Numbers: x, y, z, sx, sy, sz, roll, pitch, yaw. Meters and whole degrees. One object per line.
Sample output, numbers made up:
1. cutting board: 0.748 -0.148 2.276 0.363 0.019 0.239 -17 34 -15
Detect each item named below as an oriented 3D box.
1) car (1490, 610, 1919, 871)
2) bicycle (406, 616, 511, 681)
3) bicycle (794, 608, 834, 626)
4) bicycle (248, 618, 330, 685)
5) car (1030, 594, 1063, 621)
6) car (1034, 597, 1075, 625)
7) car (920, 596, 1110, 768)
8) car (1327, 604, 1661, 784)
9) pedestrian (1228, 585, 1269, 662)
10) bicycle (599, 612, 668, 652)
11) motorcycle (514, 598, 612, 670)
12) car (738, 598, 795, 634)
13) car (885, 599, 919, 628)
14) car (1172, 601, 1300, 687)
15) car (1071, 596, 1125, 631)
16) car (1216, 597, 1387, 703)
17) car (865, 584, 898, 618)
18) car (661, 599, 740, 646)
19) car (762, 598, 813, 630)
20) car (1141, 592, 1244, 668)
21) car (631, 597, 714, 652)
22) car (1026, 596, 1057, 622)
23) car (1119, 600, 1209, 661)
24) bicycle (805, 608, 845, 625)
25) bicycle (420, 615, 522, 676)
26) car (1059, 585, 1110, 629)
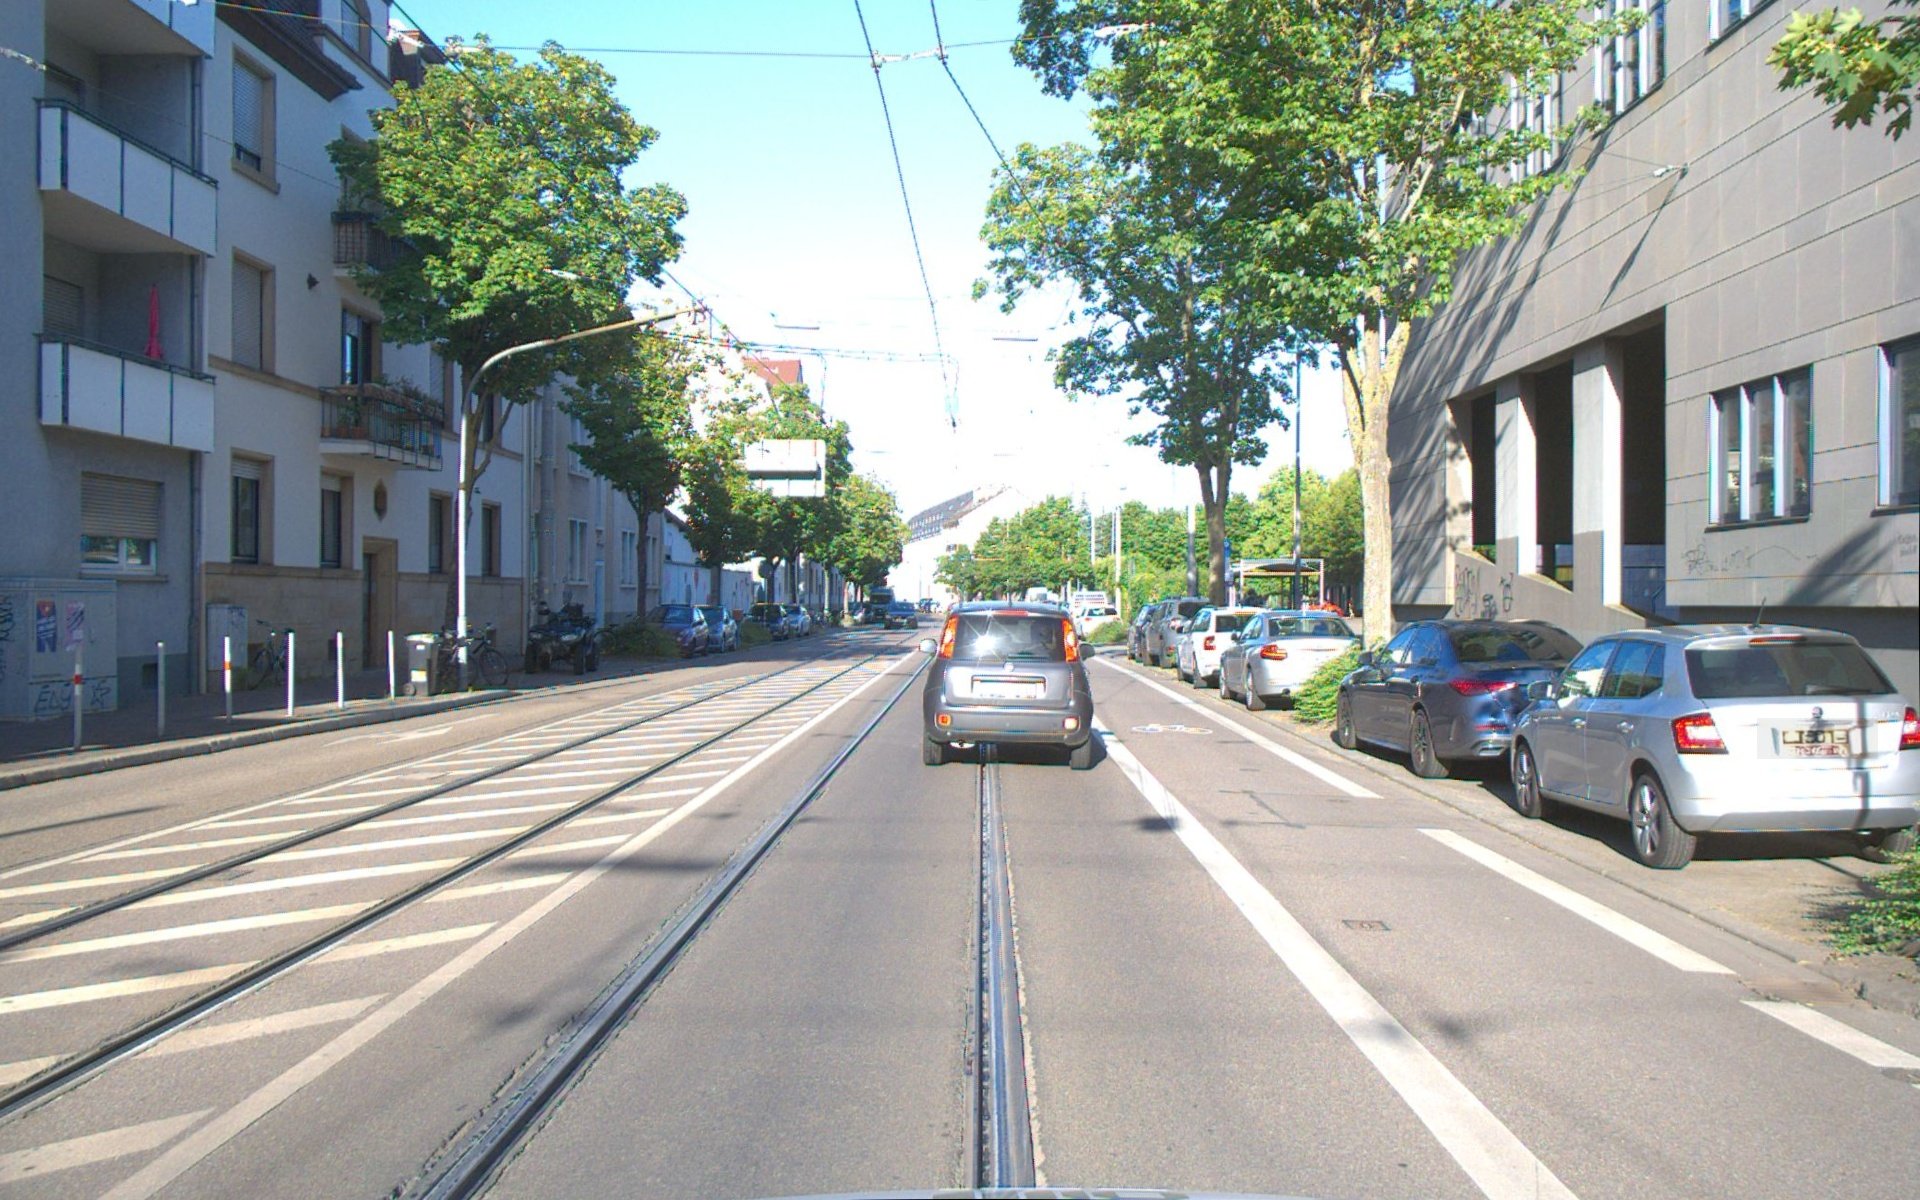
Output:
1. car: 5.136 0.837 11.646 1.608 1.481 3.915 0 0 1
2. bicycle: -8.342 0.813 27.530 1.591 1.062 0.453 2 -1 -32
3. bicycle: -8.072 0.929 91.502 2.221 0.946 0.788 0 0 36
4. bicycle: -10.928 0.826 27.000 0.496 1.024 2.020 0 0 1
5. car: 5.054 0.423 96.800 1.661 1.574 3.999 0 0 -1
6. car: 5.024 0.590 88.390 1.916 1.444 4.187 0 0 -1
7. car: 0.518 0.743 16.740 1.695 1.527 4.000 0 0 1
8. car: 5.145 0.819 16.657 1.802 1.516 4.641 0 0 -1
9. pedestrian: 7.798 0.631 44.731 0.948 2.049 1.025 0 0 2
10. bicycle: -8.666 0.850 43.906 1.718 1.041 0.606 1 -1 -20
11. motorcycle: -8.673 0.718 36.313 1.428 1.507 3.101 0 0 -1
12. car: -7.988 0.631 68.631 1.916 1.444 4.187 0 0 -1
13. car: -3.183 0.729 91.105 1.745 1.518 4.187 0 0 -1
14. car: 5.125 0.775 31.286 1.710 1.483 4.619 0 0 1
15. car: 5.800 0.543 69.801 1.875 1.399 4.187 0 0 -1
16. car: 5.126 0.705 25.346 1.785 1.489 4.157 0 0 0
17. car: -6.153 0.044 130.771 2.285 2.614 5.672 0 0 0
18. car: -8.291 0.689 53.117 1.916 1.444 4.187 0 0 -1
19. car: -7.891 0.623 75.943 1.916 1.444 4.187 0 0 -1
20. car: 5.387 0.654 38.843 1.780 1.669 4.104 0 0 -1
21. car: -8.271 0.680 47.875 1.761 1.512 3.999 0 0 -1
22. car: 5.070 0.548 103.221 1.661 1.525 3.999 0 0 -1
23. car: 5.358 0.762 43.942 1.805 1.509 4.187 0 0 -1
24. bicycle: -7.515 0.933 92.328 2.279 0.946 0.788 0 0 36
25. bicycle: -8.651 0.814 29.260 1.681 1.052 0.441 1 -1 -20
26. car: 5.593 0.289 74.715 1.916 1.938 4.187 0 0 -1
